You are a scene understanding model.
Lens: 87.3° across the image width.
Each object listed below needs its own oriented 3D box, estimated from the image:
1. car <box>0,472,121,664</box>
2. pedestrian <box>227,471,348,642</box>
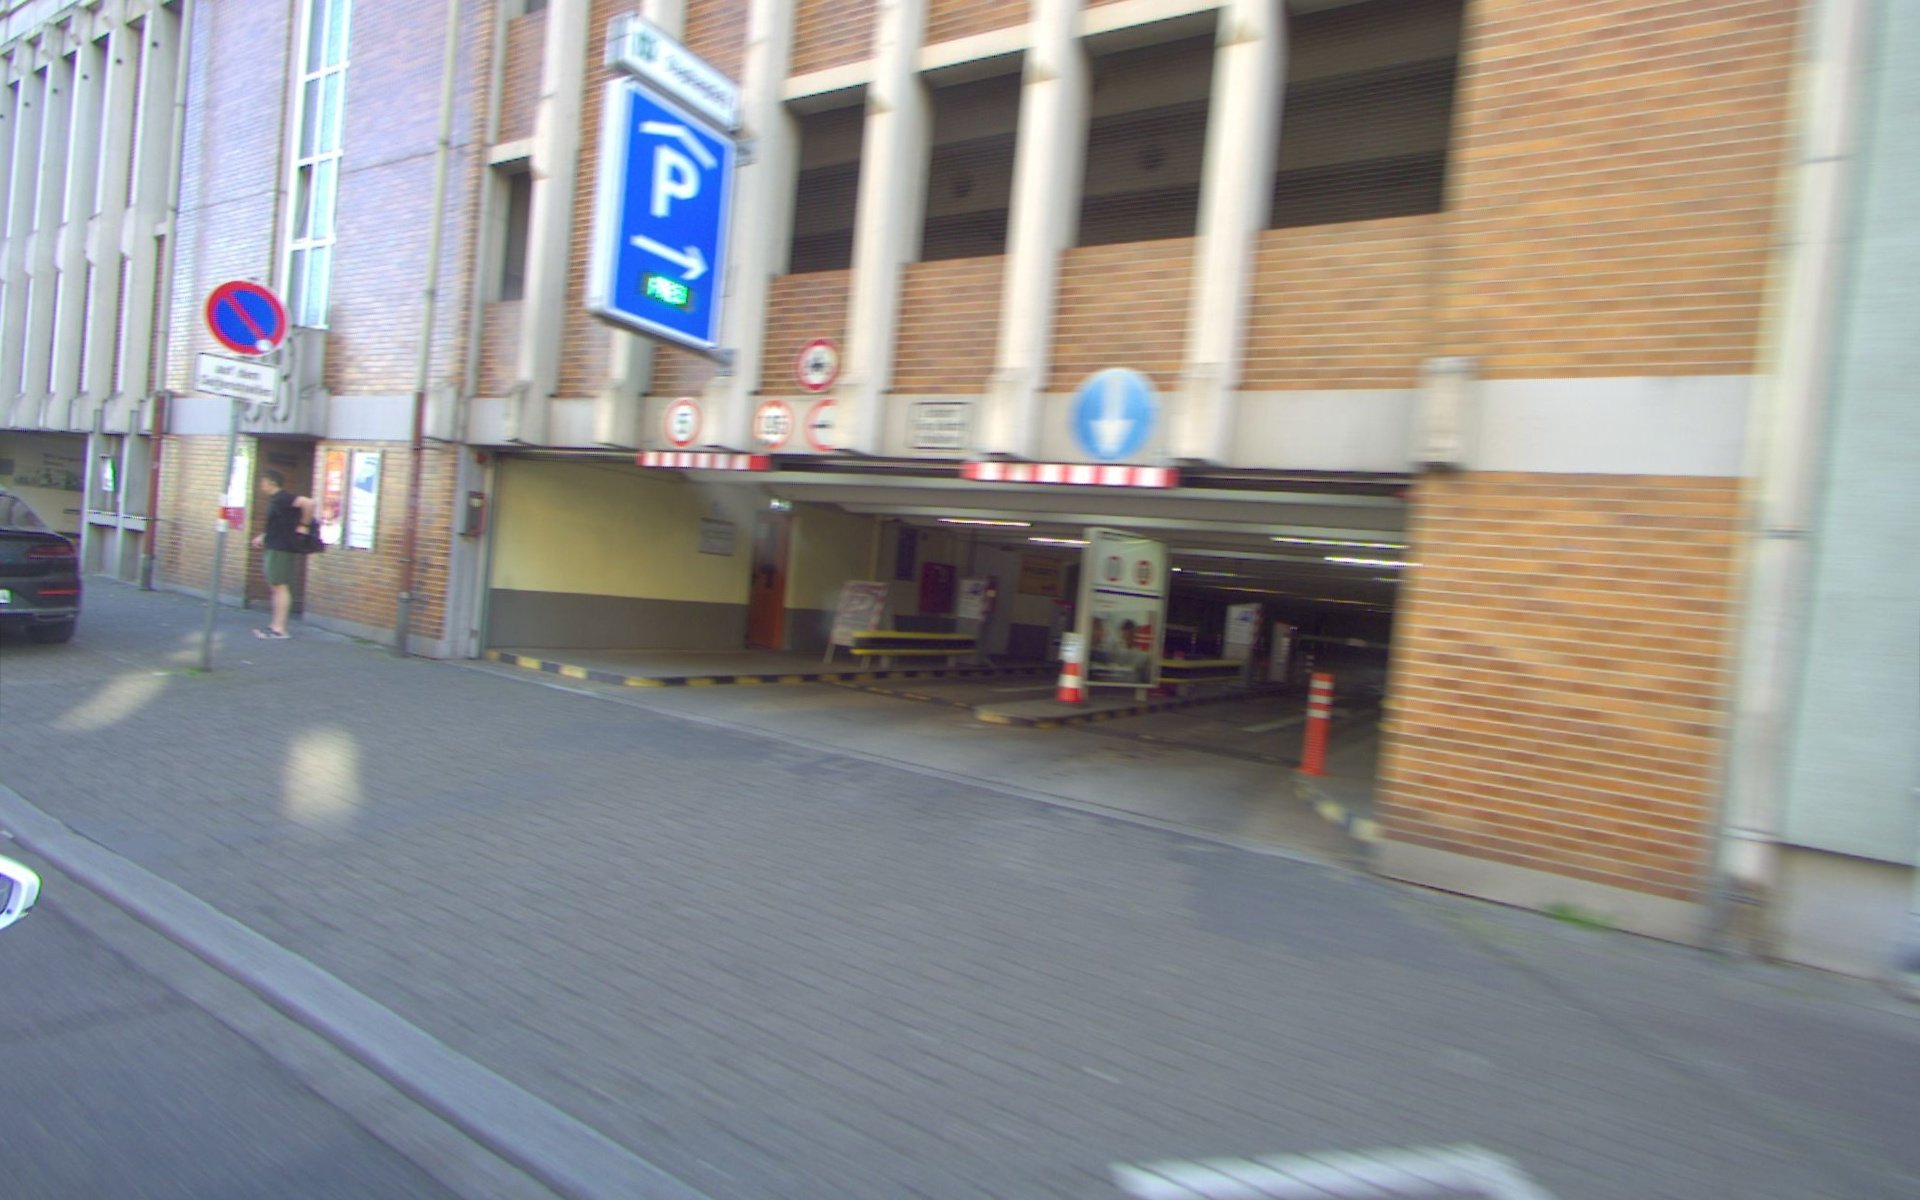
[{"bbox_3d":[-9.737,-0.476,9.103,4.882,1.500,1.915,7,5,32],"label":"car"},{"bbox_3d":[-6.960,-0.449,10.408,0.874,1.658,0.691,7,4,31],"label":"pedestrian"}]
